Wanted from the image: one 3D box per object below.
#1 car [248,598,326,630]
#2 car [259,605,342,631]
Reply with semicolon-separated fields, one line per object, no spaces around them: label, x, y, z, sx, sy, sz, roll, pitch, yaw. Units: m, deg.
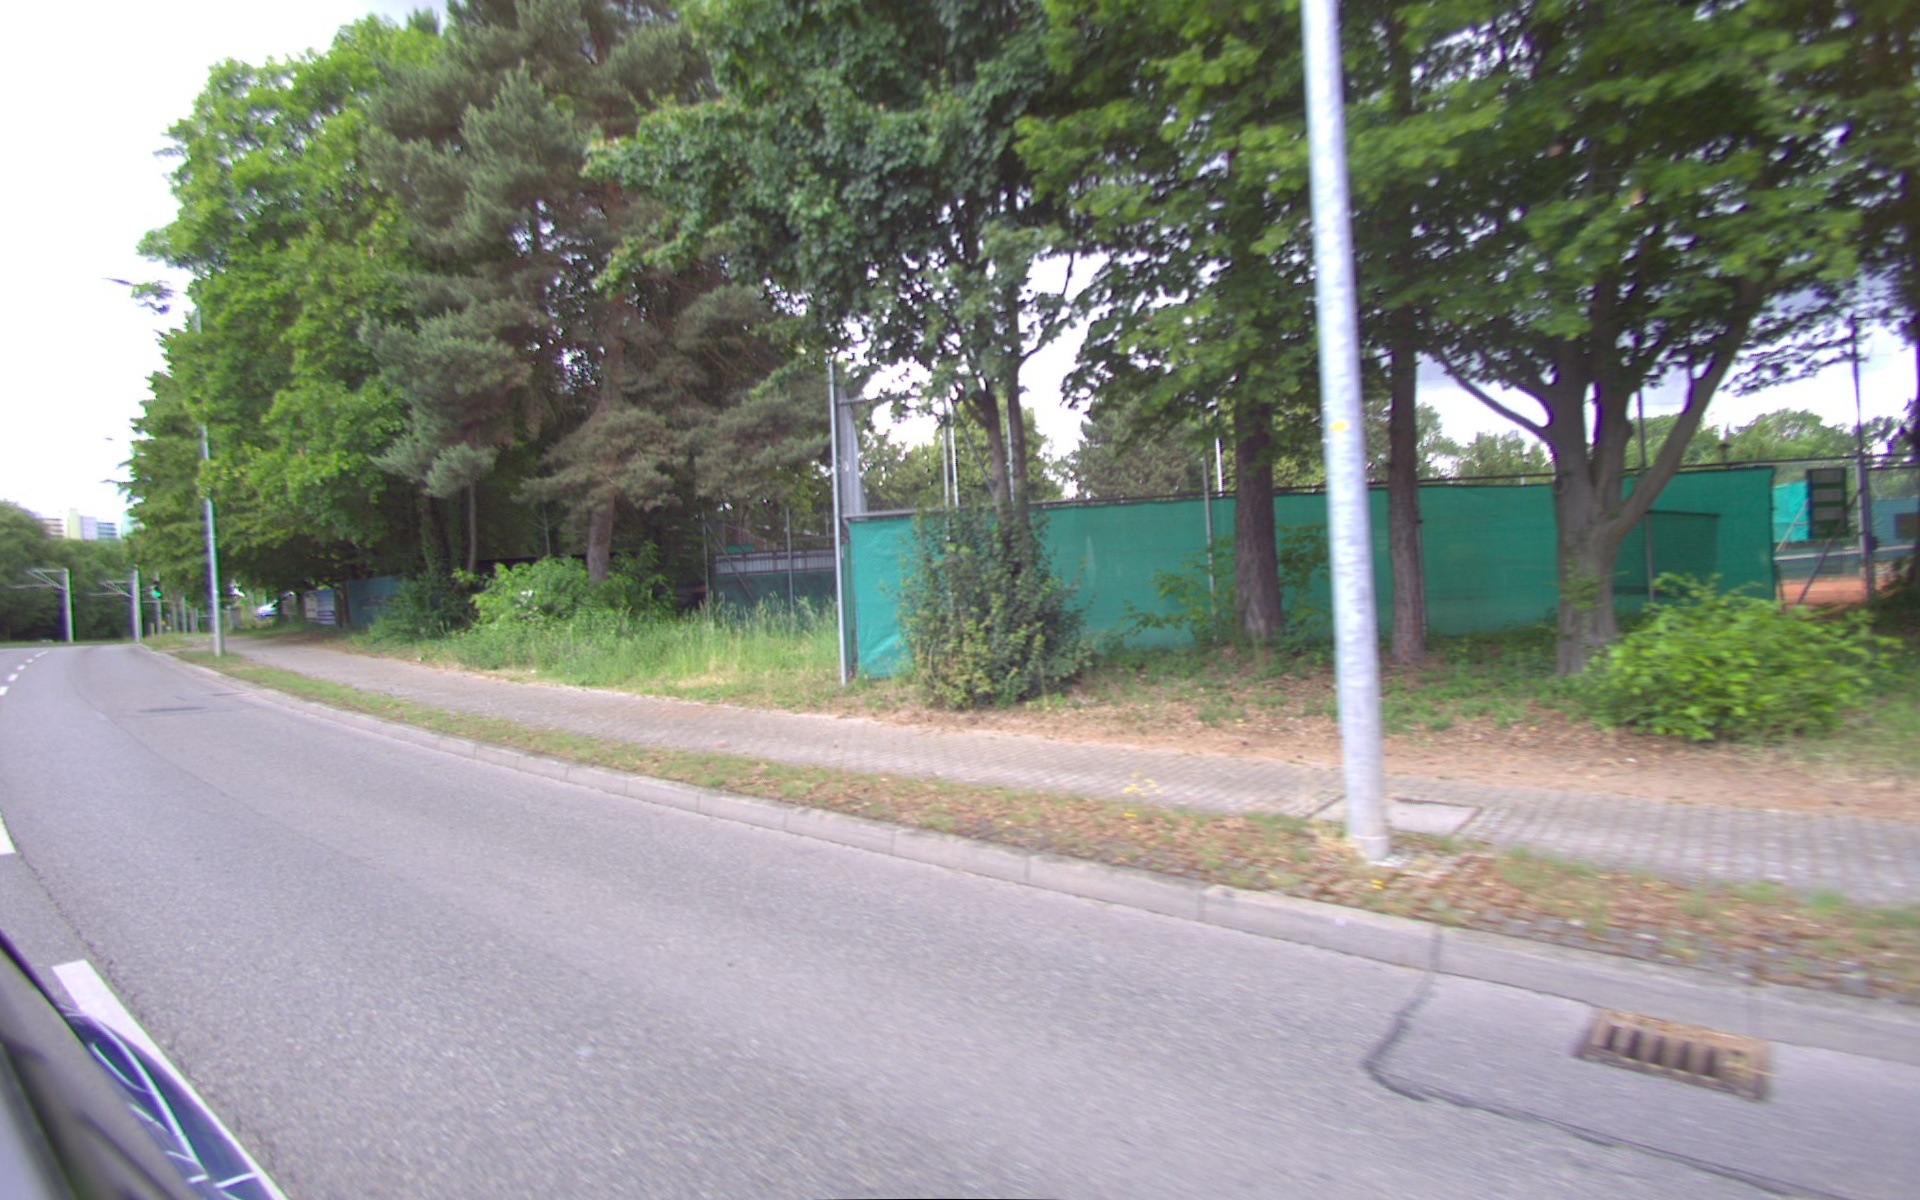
car;-54.384;1.117;81.910;5.086;2.122;2.221;-4;0;-32
car;-49.781;1.376;76.500;5.086;1.573;1.891;-4;0;-32
